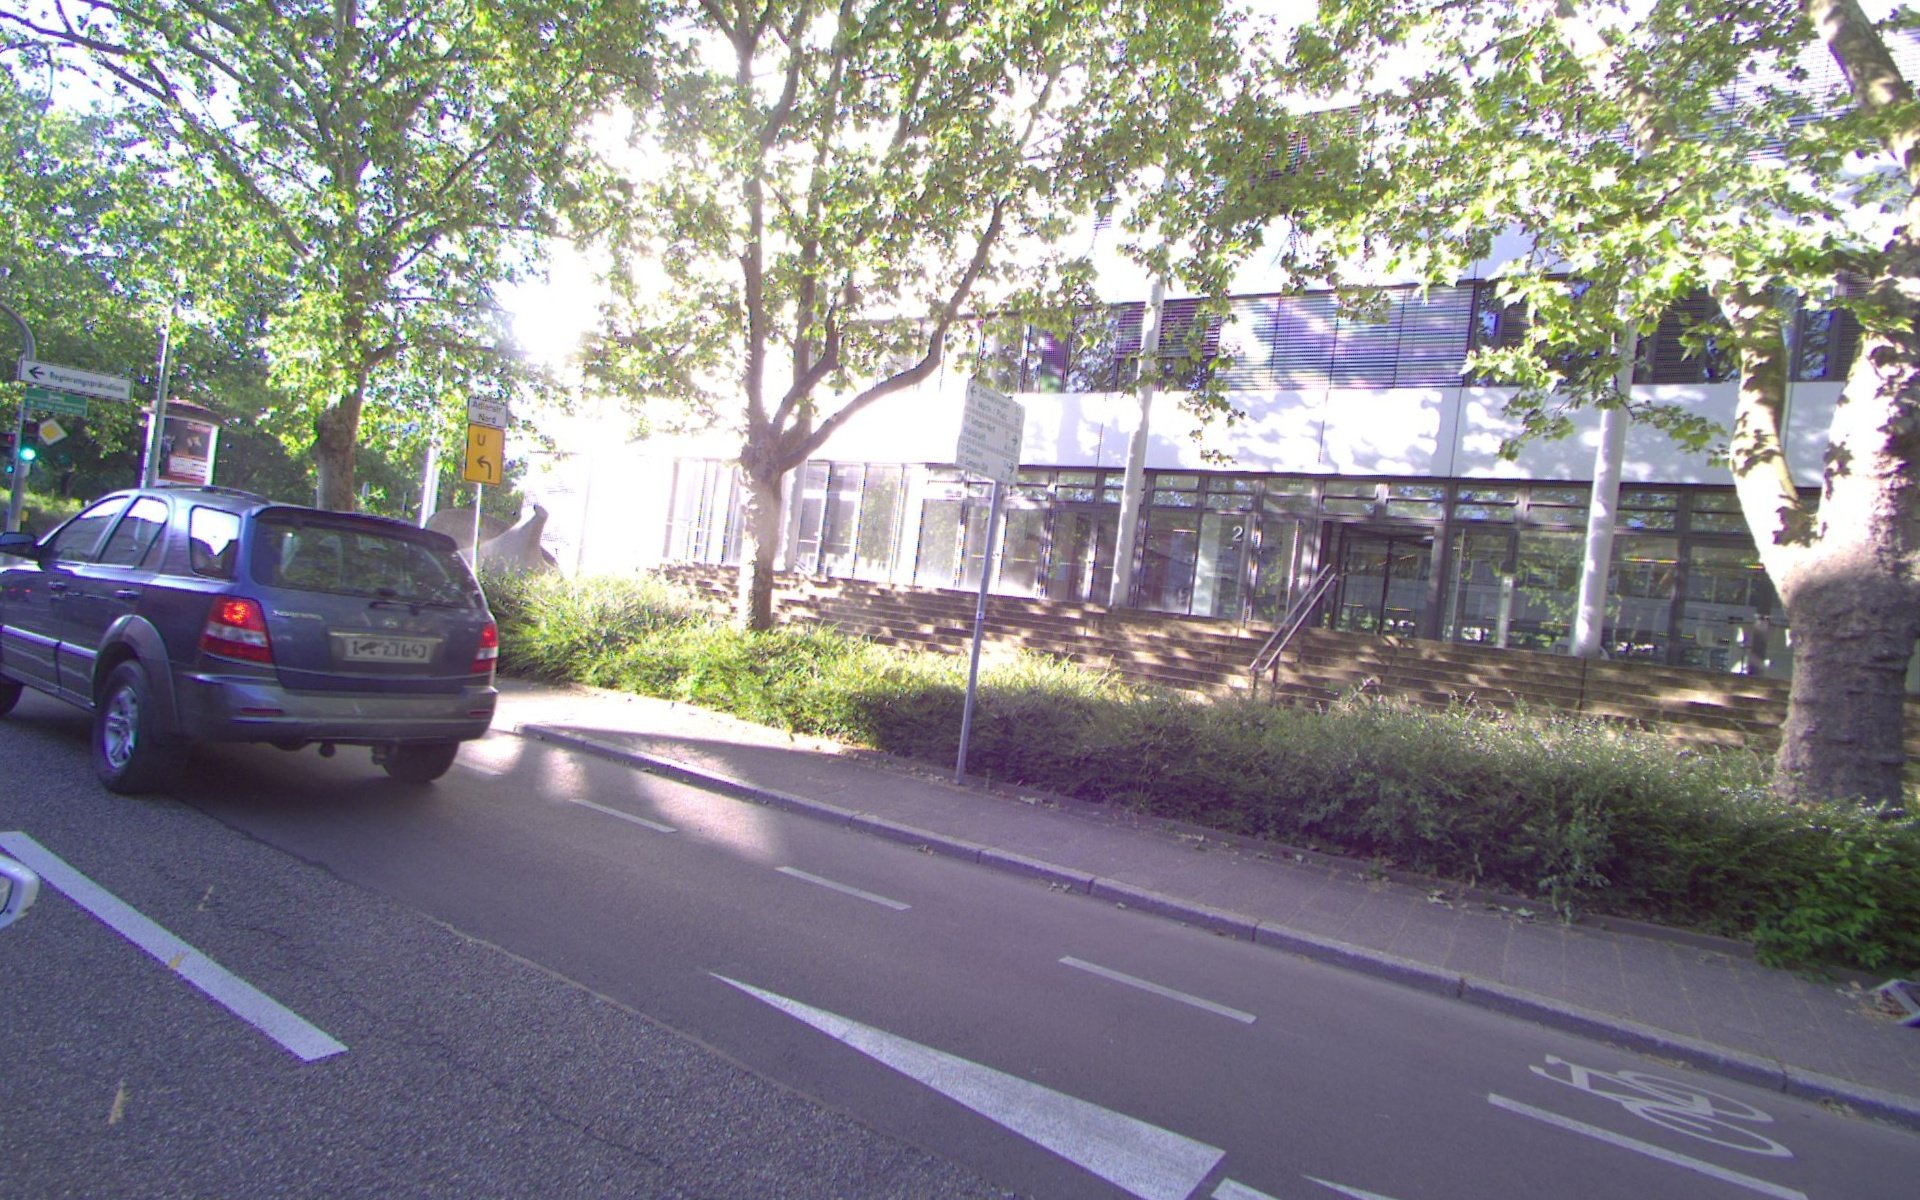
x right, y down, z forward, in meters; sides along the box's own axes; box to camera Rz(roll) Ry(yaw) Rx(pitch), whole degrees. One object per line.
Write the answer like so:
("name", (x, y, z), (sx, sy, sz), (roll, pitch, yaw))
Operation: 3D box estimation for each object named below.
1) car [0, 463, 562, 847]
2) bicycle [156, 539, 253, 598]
("car", (-5.006, 0.184, 6.828), (4.407, 1.784, 1.865), (7, -1, 32))
("bicycle", (-15.918, -0.639, 21.253), (0.631, 1.040, 1.887), (7, -2, -5))
